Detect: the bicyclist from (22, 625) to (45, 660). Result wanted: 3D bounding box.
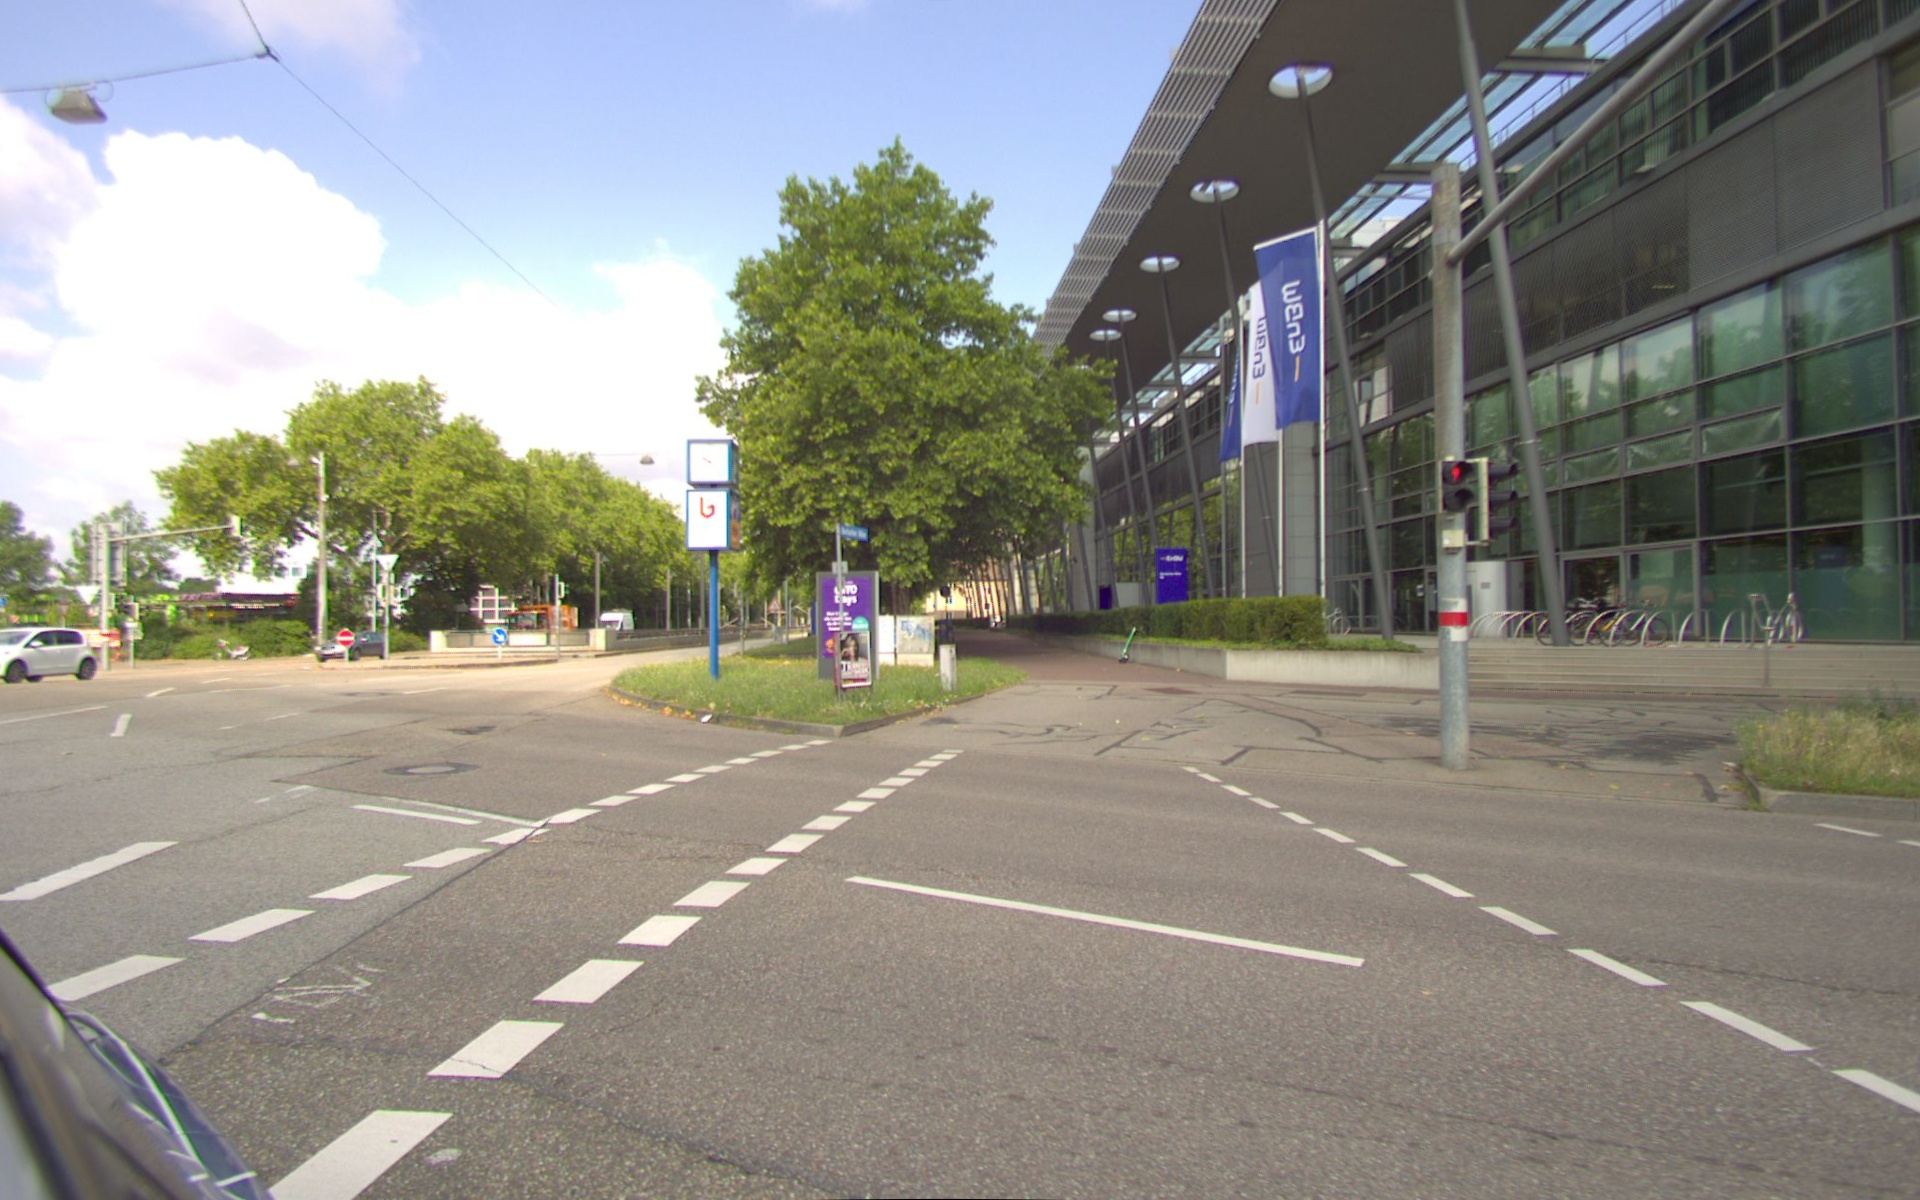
[{"bbox_3d":[-45.351,2.063,49.544,0.753,1.699,0.669,-2,-2,37],"label":"bicyclist"}]

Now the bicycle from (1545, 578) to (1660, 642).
[{"bbox_3d":[14.999,0.220,23.676,2.112,1.394,0.741,2,0,4],"label":"bicycle"}]

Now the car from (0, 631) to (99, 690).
[{"bbox_3d":[-25.373,1.628,27.152,1.711,1.497,3.606,-1,-3,-6],"label":"car"}]

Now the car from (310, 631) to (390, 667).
[{"bbox_3d":[-29.909,2.364,49.760,1.746,1.475,4.004,-1,1,-4],"label":"car"}]

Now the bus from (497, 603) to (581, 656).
[{"bbox_3d":[-32.359,2.169,78.293,2.705,3.491,10.405,2,1,-4],"label":"bus"}]

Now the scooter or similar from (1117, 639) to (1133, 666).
[{"bbox_3d":[4.932,1.560,30.293,0.237,0.718,1.230,3,0,0],"label":"scooter or similar"}]

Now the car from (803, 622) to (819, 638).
[{"bbox_3d":[-16.571,3.316,112.506,1.400,1.467,3.160,4,0,-4],"label":"car"}]

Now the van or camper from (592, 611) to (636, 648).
[{"bbox_3d":[-29.786,2.496,87.398,2.132,2.806,5.973,3,0,-5],"label":"van or camper"}]

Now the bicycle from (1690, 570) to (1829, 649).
[{"bbox_3d":[15.773,0.183,19.994,2.148,1.451,0.692,2,0,-2],"label":"bicycle"}]

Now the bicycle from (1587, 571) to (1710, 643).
[{"bbox_3d":[14.975,0.145,22.042,2.148,1.451,0.692,2,0,-2],"label":"bicycle"}]

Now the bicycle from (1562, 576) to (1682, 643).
[{"bbox_3d":[14.919,0.209,22.847,2.112,1.394,0.741,2,0,4],"label":"bicycle"}]

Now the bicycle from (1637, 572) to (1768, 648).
[{"bbox_3d":[15.229,0.197,20.791,2.148,1.451,0.692,2,0,-2],"label":"bicycle"}]

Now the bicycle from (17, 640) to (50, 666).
[{"bbox_3d":[-45.348,2.578,49.531,2.229,1.205,0.782,-1,-2,37],"label":"bicycle"}]
